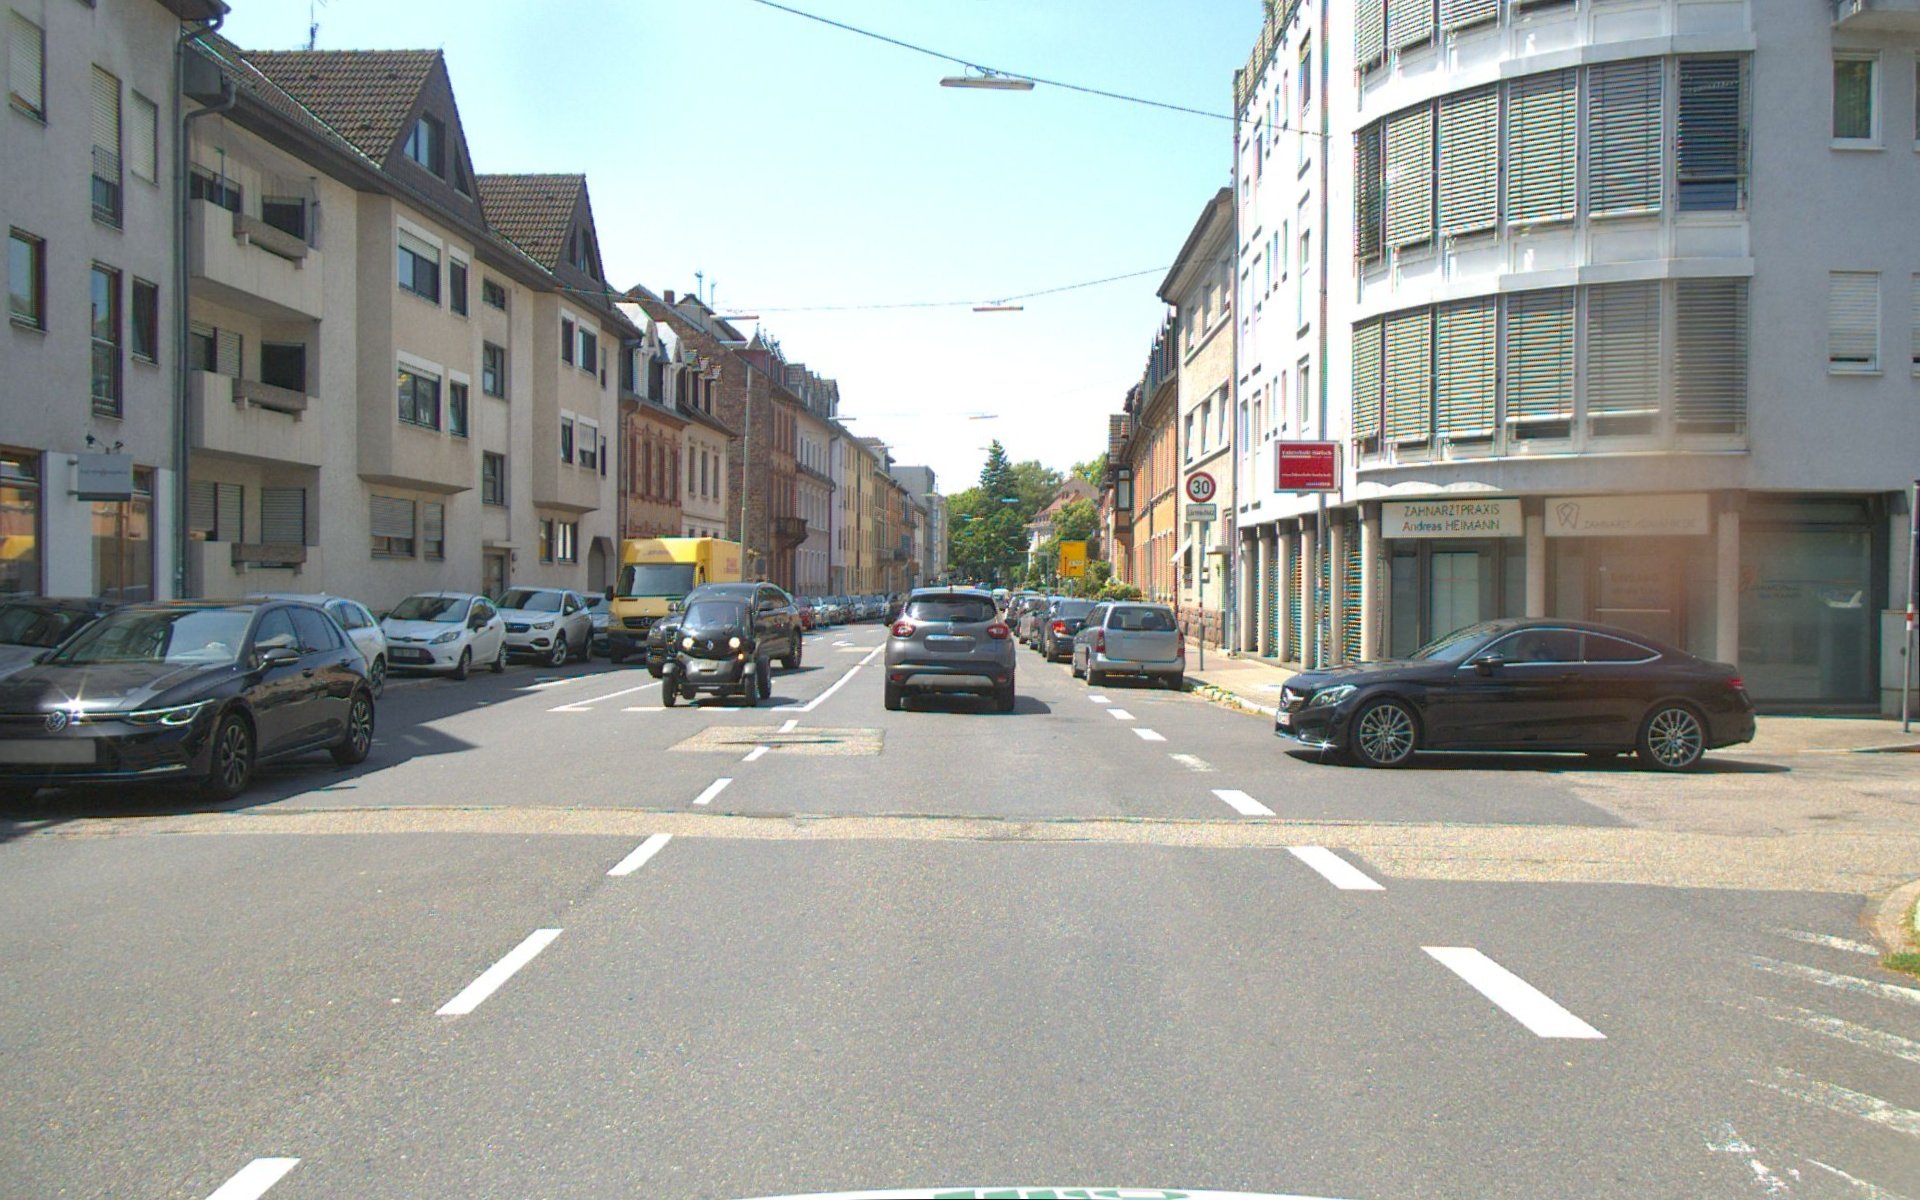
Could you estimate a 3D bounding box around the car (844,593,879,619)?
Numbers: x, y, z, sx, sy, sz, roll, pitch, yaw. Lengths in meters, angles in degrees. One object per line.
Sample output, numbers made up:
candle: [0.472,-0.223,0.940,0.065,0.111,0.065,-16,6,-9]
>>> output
car: [-5.893,0.371,99.527,1.802,1.447,4.646,-2,0,0]

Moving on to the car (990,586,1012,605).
car: [3.464,-0.375,139.723,1.726,1.587,3.944,0,0,4]

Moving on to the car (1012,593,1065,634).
car: [2.832,0.469,60.270,1.666,1.405,4.166,1,0,-1]

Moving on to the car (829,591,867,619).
car: [-6.297,0.287,93.602,1.802,1.447,4.502,-2,0,0]

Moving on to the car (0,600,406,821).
car: [-5.937,0.732,13.043,1.707,1.444,4.223,-1,0,0]

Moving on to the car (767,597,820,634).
car: [-7.013,0.621,70.033,1.802,1.447,4.501,-2,0,-1]

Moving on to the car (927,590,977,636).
car: [-0.261,0.479,62.428,1.775,1.649,4.442,-1,0,1]

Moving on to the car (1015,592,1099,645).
car: [2.865,0.533,49.814,1.818,1.489,4.545,1,0,-6]

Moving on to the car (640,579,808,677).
car: [-4.247,0.481,30.524,1.773,1.649,4.445,-1,0,10]

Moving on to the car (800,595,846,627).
car: [-6.790,0.535,82.482,1.802,1.447,4.502,-4,0,0]

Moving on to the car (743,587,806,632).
car: [-7.266,0.368,65.309,1.802,1.624,4.503,-3,0,1]

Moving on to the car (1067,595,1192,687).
car: [2.962,0.680,29.709,1.644,1.480,4.141,2,0,-2]

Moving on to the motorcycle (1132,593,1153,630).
motorcycle: [6.281,0.403,56.882,0.583,1.246,1.361,0,0,1]

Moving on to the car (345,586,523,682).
car: [-9.418,0.576,29.976,1.802,1.515,4.386,3,0,-1]

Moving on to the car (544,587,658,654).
car: [-8.943,0.487,41.571,1.802,1.514,4.386,3,0,0]

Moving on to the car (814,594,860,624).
car: [-6.559,0.460,88.348,1.801,1.447,4.504,-3,0,3]

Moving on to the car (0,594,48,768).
car: [-9.121,0.654,12.305,1.802,1.473,4.969,3,0,1]

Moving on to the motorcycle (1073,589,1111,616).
motorcycle: [7.391,0.136,92.786,2.085,1.433,0.938,-1,0,2]

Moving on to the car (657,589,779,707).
car: [-3.220,0.604,22.338,1.468,1.484,2.719,0,0,-5]

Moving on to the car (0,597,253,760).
car: [-9.195,0.712,17.170,1.802,1.408,4.326,3,0,0]

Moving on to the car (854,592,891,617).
car: [-5.529,0.301,105.303,1.801,1.447,4.560,-3,0,3]

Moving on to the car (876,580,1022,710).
car: [-0.235,0.561,22.926,1.710,1.644,3.996,1,0,-5]

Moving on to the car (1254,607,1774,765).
car: [5.375,0.817,16.461,4.489,1.389,1.999,1,0,-3]

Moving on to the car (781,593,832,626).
car: [-7.080,0.428,76.621,1.802,1.447,4.503,-2,0,1]

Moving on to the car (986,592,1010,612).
car: [3.036,0.136,132.030,1.726,1.587,3.944,0,0,4]

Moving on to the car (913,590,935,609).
car: [-3.261,-0.059,150.396,1.866,1.648,4.301,-2,0,-1]

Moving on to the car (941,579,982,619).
car: [0.097,-0.055,87.022,1.952,2.049,4.468,0,0,3]

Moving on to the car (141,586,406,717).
car: [-9.145,0.634,22.464,1.802,1.515,4.385,3,0,-1]

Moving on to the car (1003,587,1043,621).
car: [3.196,0.189,83.501,1.952,1.691,4.626,0,0,2]

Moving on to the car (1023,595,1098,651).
car: [2.680,0.585,44.797,1.618,1.445,4.046,0,0,-3]

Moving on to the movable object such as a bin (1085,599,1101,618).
movable object such as a bin: [6.734,0.425,83.537,0.772,0.923,0.539,0,0,-1]

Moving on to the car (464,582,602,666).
car: [-9.111,0.492,35.659,1.802,1.623,4.386,3,0,-1]

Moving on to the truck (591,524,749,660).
truck: [-6.576,-0.185,38.541,2.179,2.819,7.564,-1,0,1]

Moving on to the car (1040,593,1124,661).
car: [2.817,0.591,38.812,1.676,1.499,4.438,0,0,0]
